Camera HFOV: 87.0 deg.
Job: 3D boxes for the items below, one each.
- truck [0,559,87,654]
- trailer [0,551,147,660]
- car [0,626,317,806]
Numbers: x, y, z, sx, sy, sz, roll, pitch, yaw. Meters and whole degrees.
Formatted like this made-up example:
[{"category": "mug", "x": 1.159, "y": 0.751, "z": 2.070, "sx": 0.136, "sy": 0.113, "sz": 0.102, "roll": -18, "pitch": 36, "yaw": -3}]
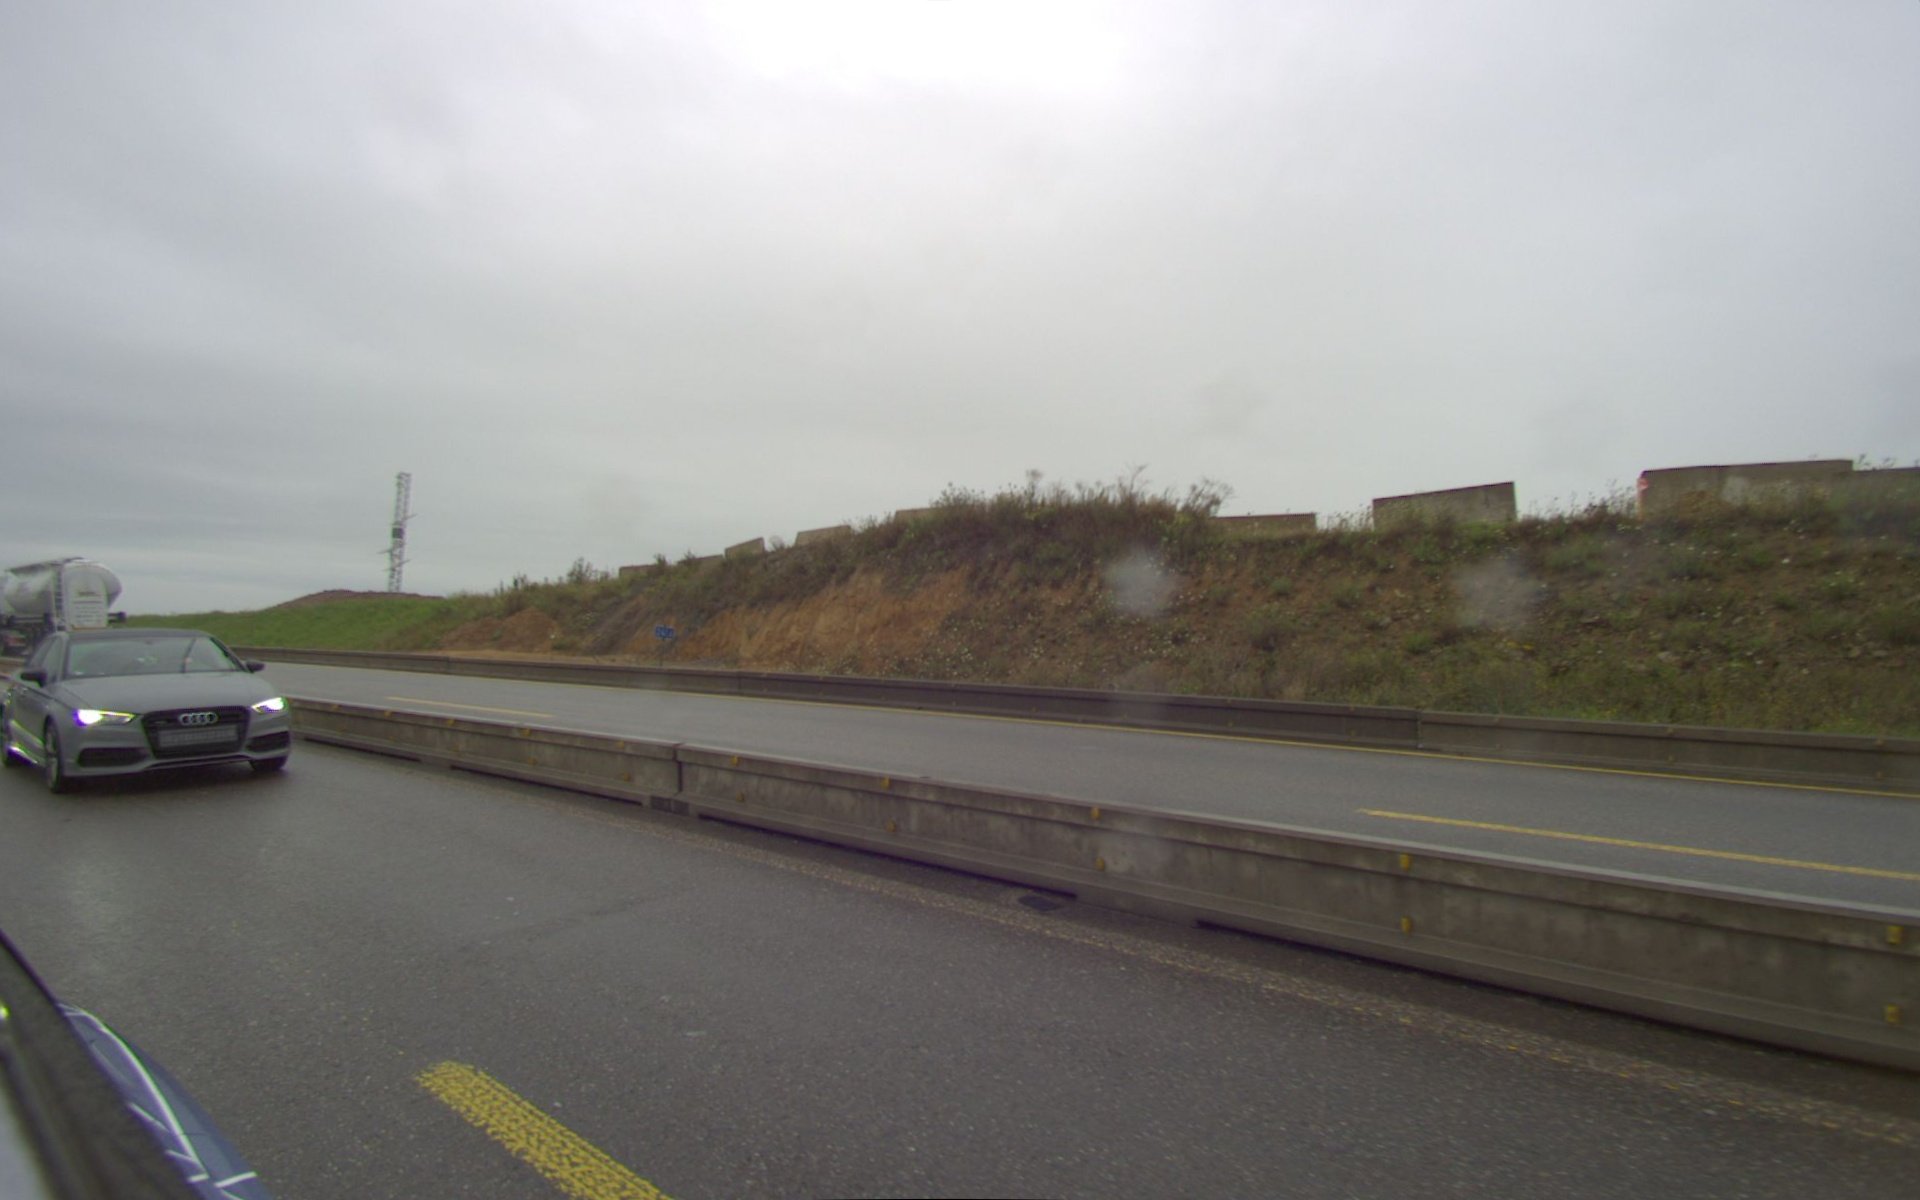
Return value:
[{"category": "truck", "x": -41.965, "y": 0.332, "z": 45.337, "sx": 5.873, "sy": 3.985, "sz": 3.201, "roll": -1, "pitch": -1, "yaw": 38}, {"category": "trailer", "x": -37.495, "y": 0.290, "z": 41.943, "sx": 11.517, "sy": 3.994, "sz": 3.225, "roll": -1, "pitch": -1, "yaw": 37}, {"category": "car", "x": -8.181, "y": 0.975, "z": 10.060, "sx": 4.082, "sy": 1.393, "sz": 1.783, "roll": -1, "pitch": -1, "yaw": 38}]
